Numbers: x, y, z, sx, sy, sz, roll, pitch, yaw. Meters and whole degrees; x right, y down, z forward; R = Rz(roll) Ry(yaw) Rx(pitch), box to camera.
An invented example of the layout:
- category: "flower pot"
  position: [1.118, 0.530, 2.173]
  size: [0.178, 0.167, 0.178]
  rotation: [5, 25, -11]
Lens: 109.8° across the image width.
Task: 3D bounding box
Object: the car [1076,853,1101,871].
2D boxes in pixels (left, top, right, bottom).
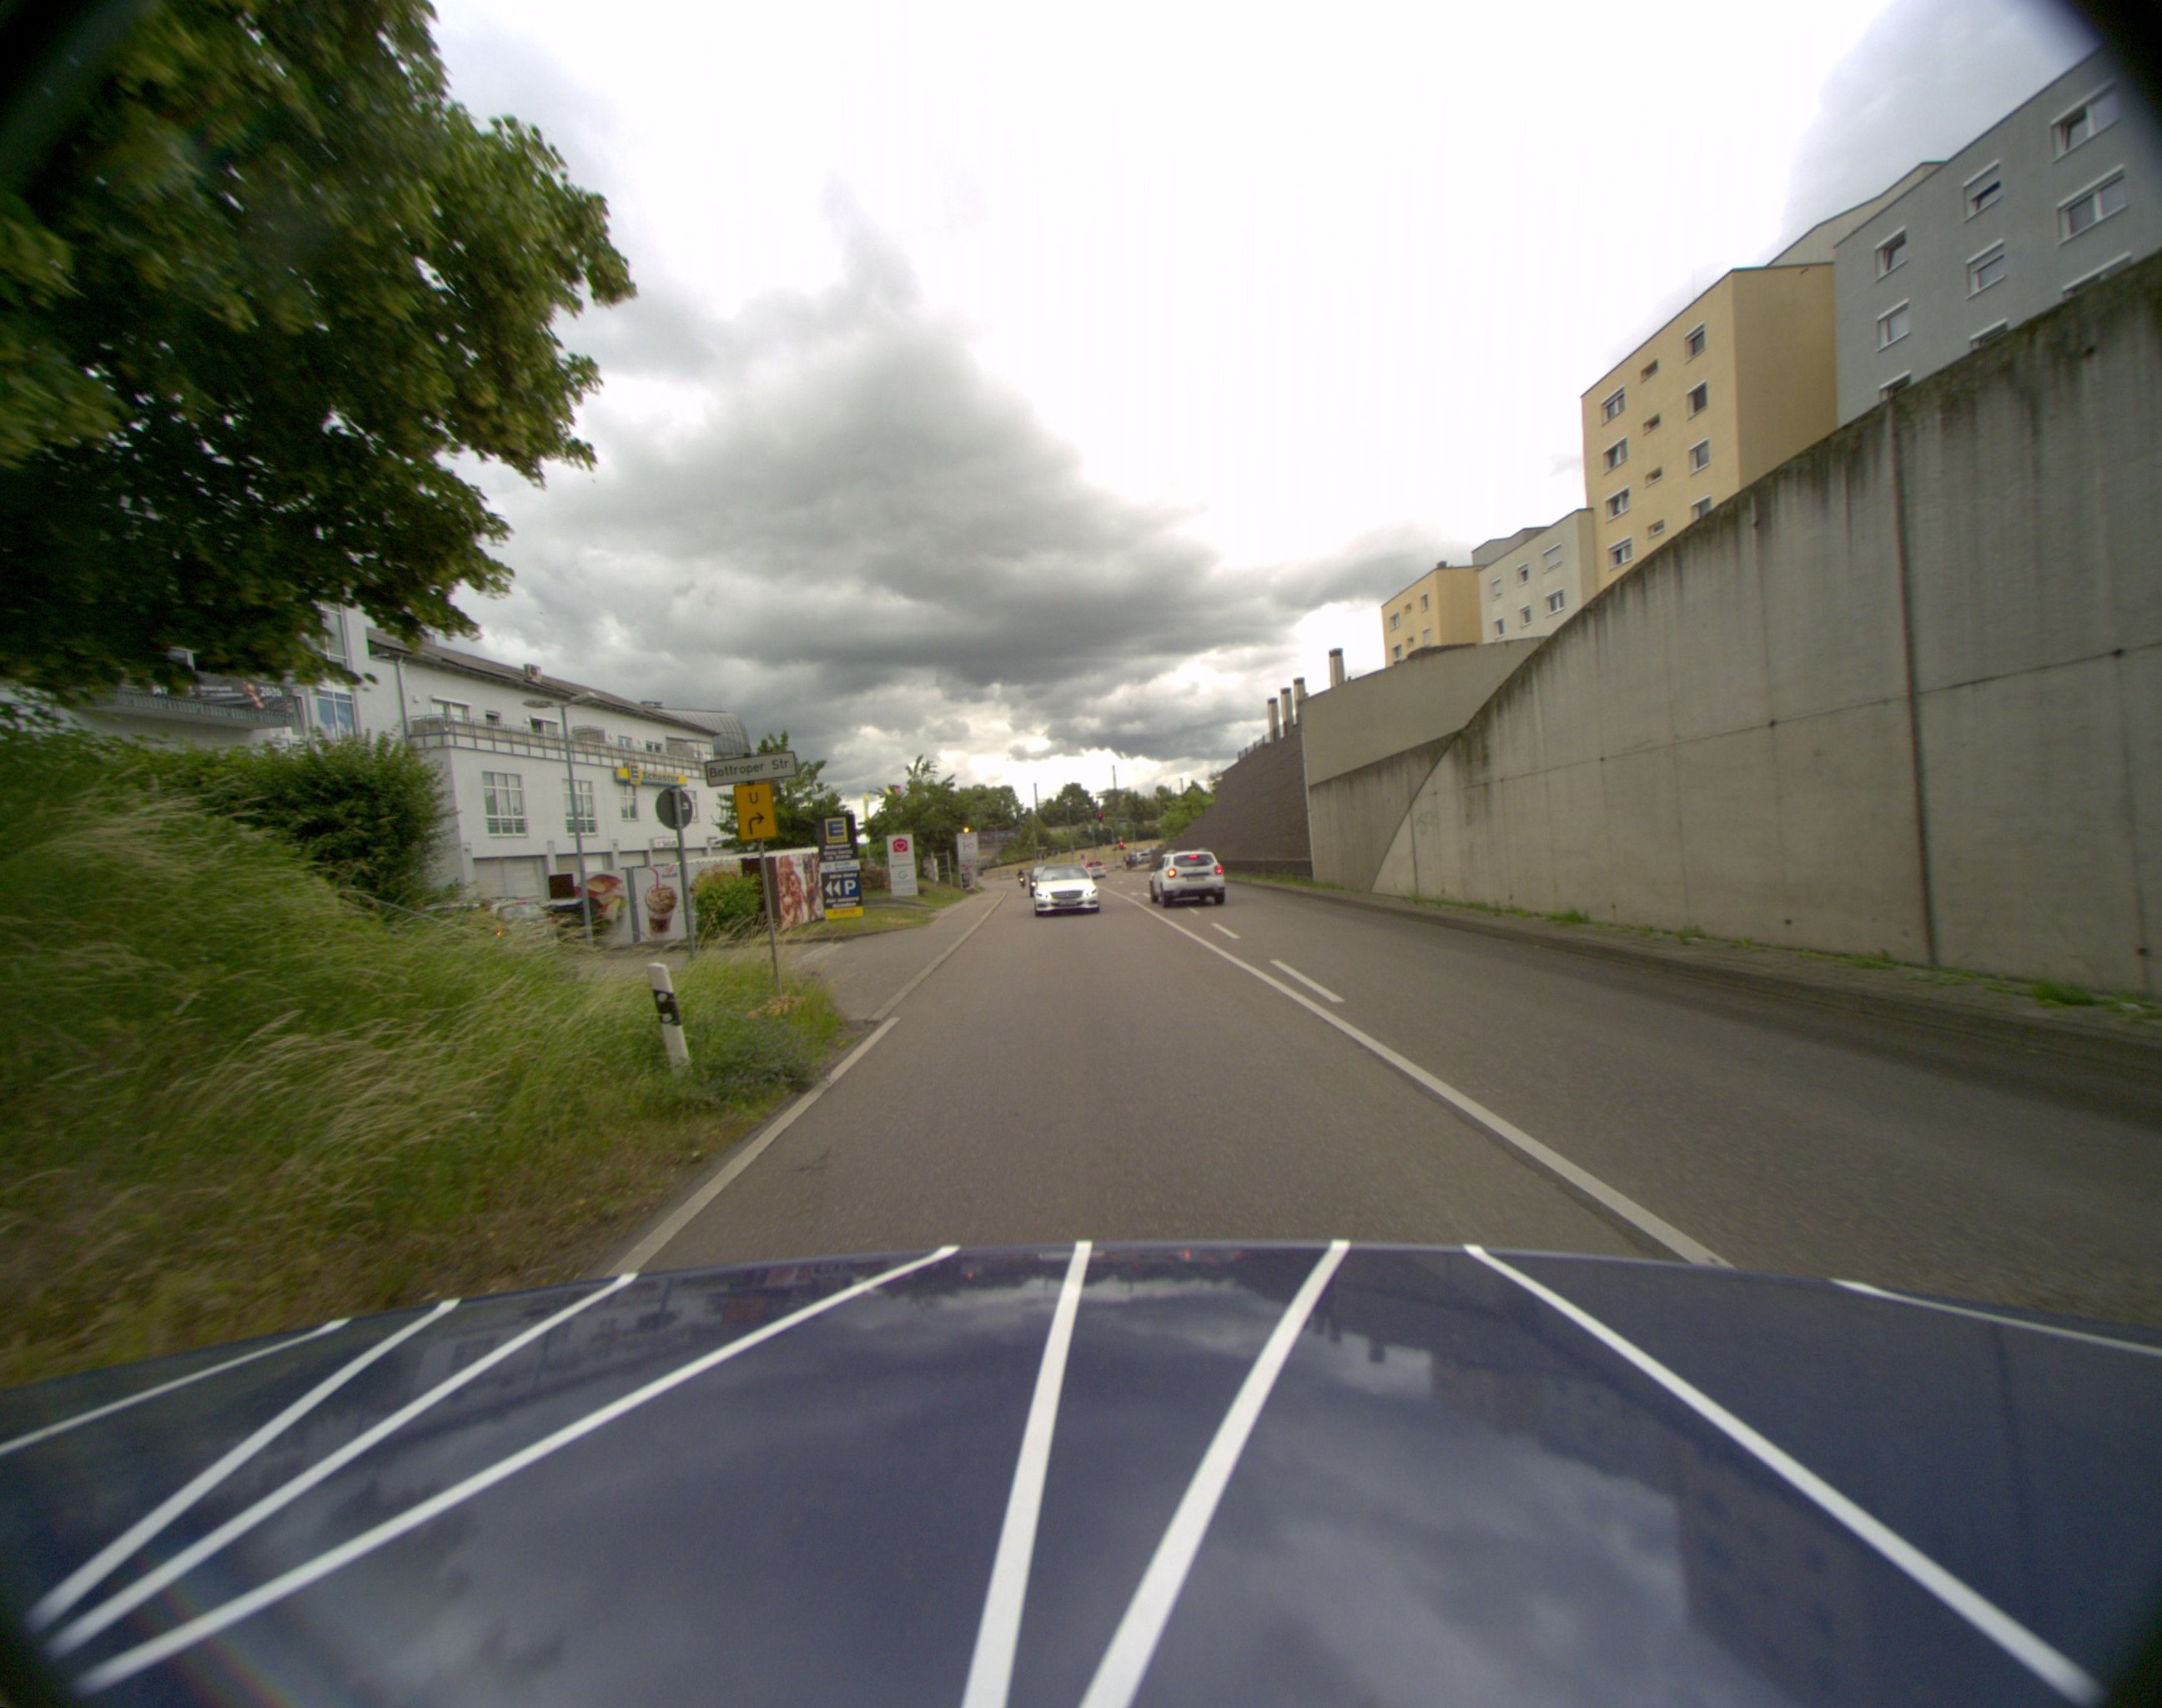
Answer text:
- category: "car"
  position: [0.748, 0.794, 75.567]
  size: [1.759, 1.515, 4.090]
  rotation: [-7, 1, -8]

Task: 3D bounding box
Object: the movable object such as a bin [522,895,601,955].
- category: "movable object such as a bin"
  position: [-13.581, 1.831, 19.897]
  size: [1.248, 1.405, 1.057]
  rotation: [-3, 0, 0]

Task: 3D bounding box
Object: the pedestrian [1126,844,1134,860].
- category: "pedestrian"
  position: [5.505, -0.193, 84.728]
  size: [0.665, 1.669, 0.624]
  rotation: [-6, 2, 8]

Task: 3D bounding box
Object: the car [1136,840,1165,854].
- category: "car"
  position: [10.799, -1.067, 117.382]
  size: [4.268, 1.719, 1.756]
  rotation: [-8, 2, -37]

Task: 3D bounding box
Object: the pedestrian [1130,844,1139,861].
- category: "pedestrian"
  position: [5.897, -0.145, 84.094]
  size: [0.624, 1.817, 0.664]
  rotation: [-7, 2, -20]

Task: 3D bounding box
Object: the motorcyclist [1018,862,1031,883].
- category: "motorcyclist"
  position: [-4.670, 1.514, 63.184]
  size: [0.883, 1.596, 1.243]
  rotation: [-7, 2, -4]

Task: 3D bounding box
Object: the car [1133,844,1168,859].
- category: "car"
  position: [9.661, -0.365, 105.600]
  size: [4.517, 1.629, 1.827]
  rotation: [-8, 2, -36]

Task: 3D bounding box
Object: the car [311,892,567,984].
- category: "car"
  position: [-14.252, 1.848, 17.005]
  size: [4.249, 1.584, 1.788]
  rotation: [-3, 2, 5]

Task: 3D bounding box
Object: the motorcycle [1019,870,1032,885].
- category: "motorcycle"
  position: [-4.630, 1.937, 63.254]
  size: [0.883, 1.098, 2.359]
  rotation: [-7, 1, -3]

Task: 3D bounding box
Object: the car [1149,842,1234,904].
- category: "car"
  position: [3.256, 0.529, 23.269]
  size: [1.866, 1.622, 4.208]
  rotation: [-4, 0, 0]

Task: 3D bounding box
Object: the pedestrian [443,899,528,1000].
- category: "pedestrian"
  position: [-10.555, 1.678, 13.499]
  size: [0.733, 1.648, 0.806]
  rotation: [-4, 1, 5]

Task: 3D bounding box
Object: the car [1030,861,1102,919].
- category: "car"
  position: [-0.450, 1.035, 23.335]
  size: [1.905, 1.471, 4.094]
  rotation: [-3, 0, -1]

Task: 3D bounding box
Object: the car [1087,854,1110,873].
- category: "car"
  position: [1.590, 0.821, 69.228]
  size: [1.548, 1.514, 2.912]
  rotation: [-7, 0, -6]

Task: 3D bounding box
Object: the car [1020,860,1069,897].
- category: "car"
  position: [-1.874, 1.163, 37.702]
  size: [1.760, 1.532, 3.996]
  rotation: [-7, 2, -10]
